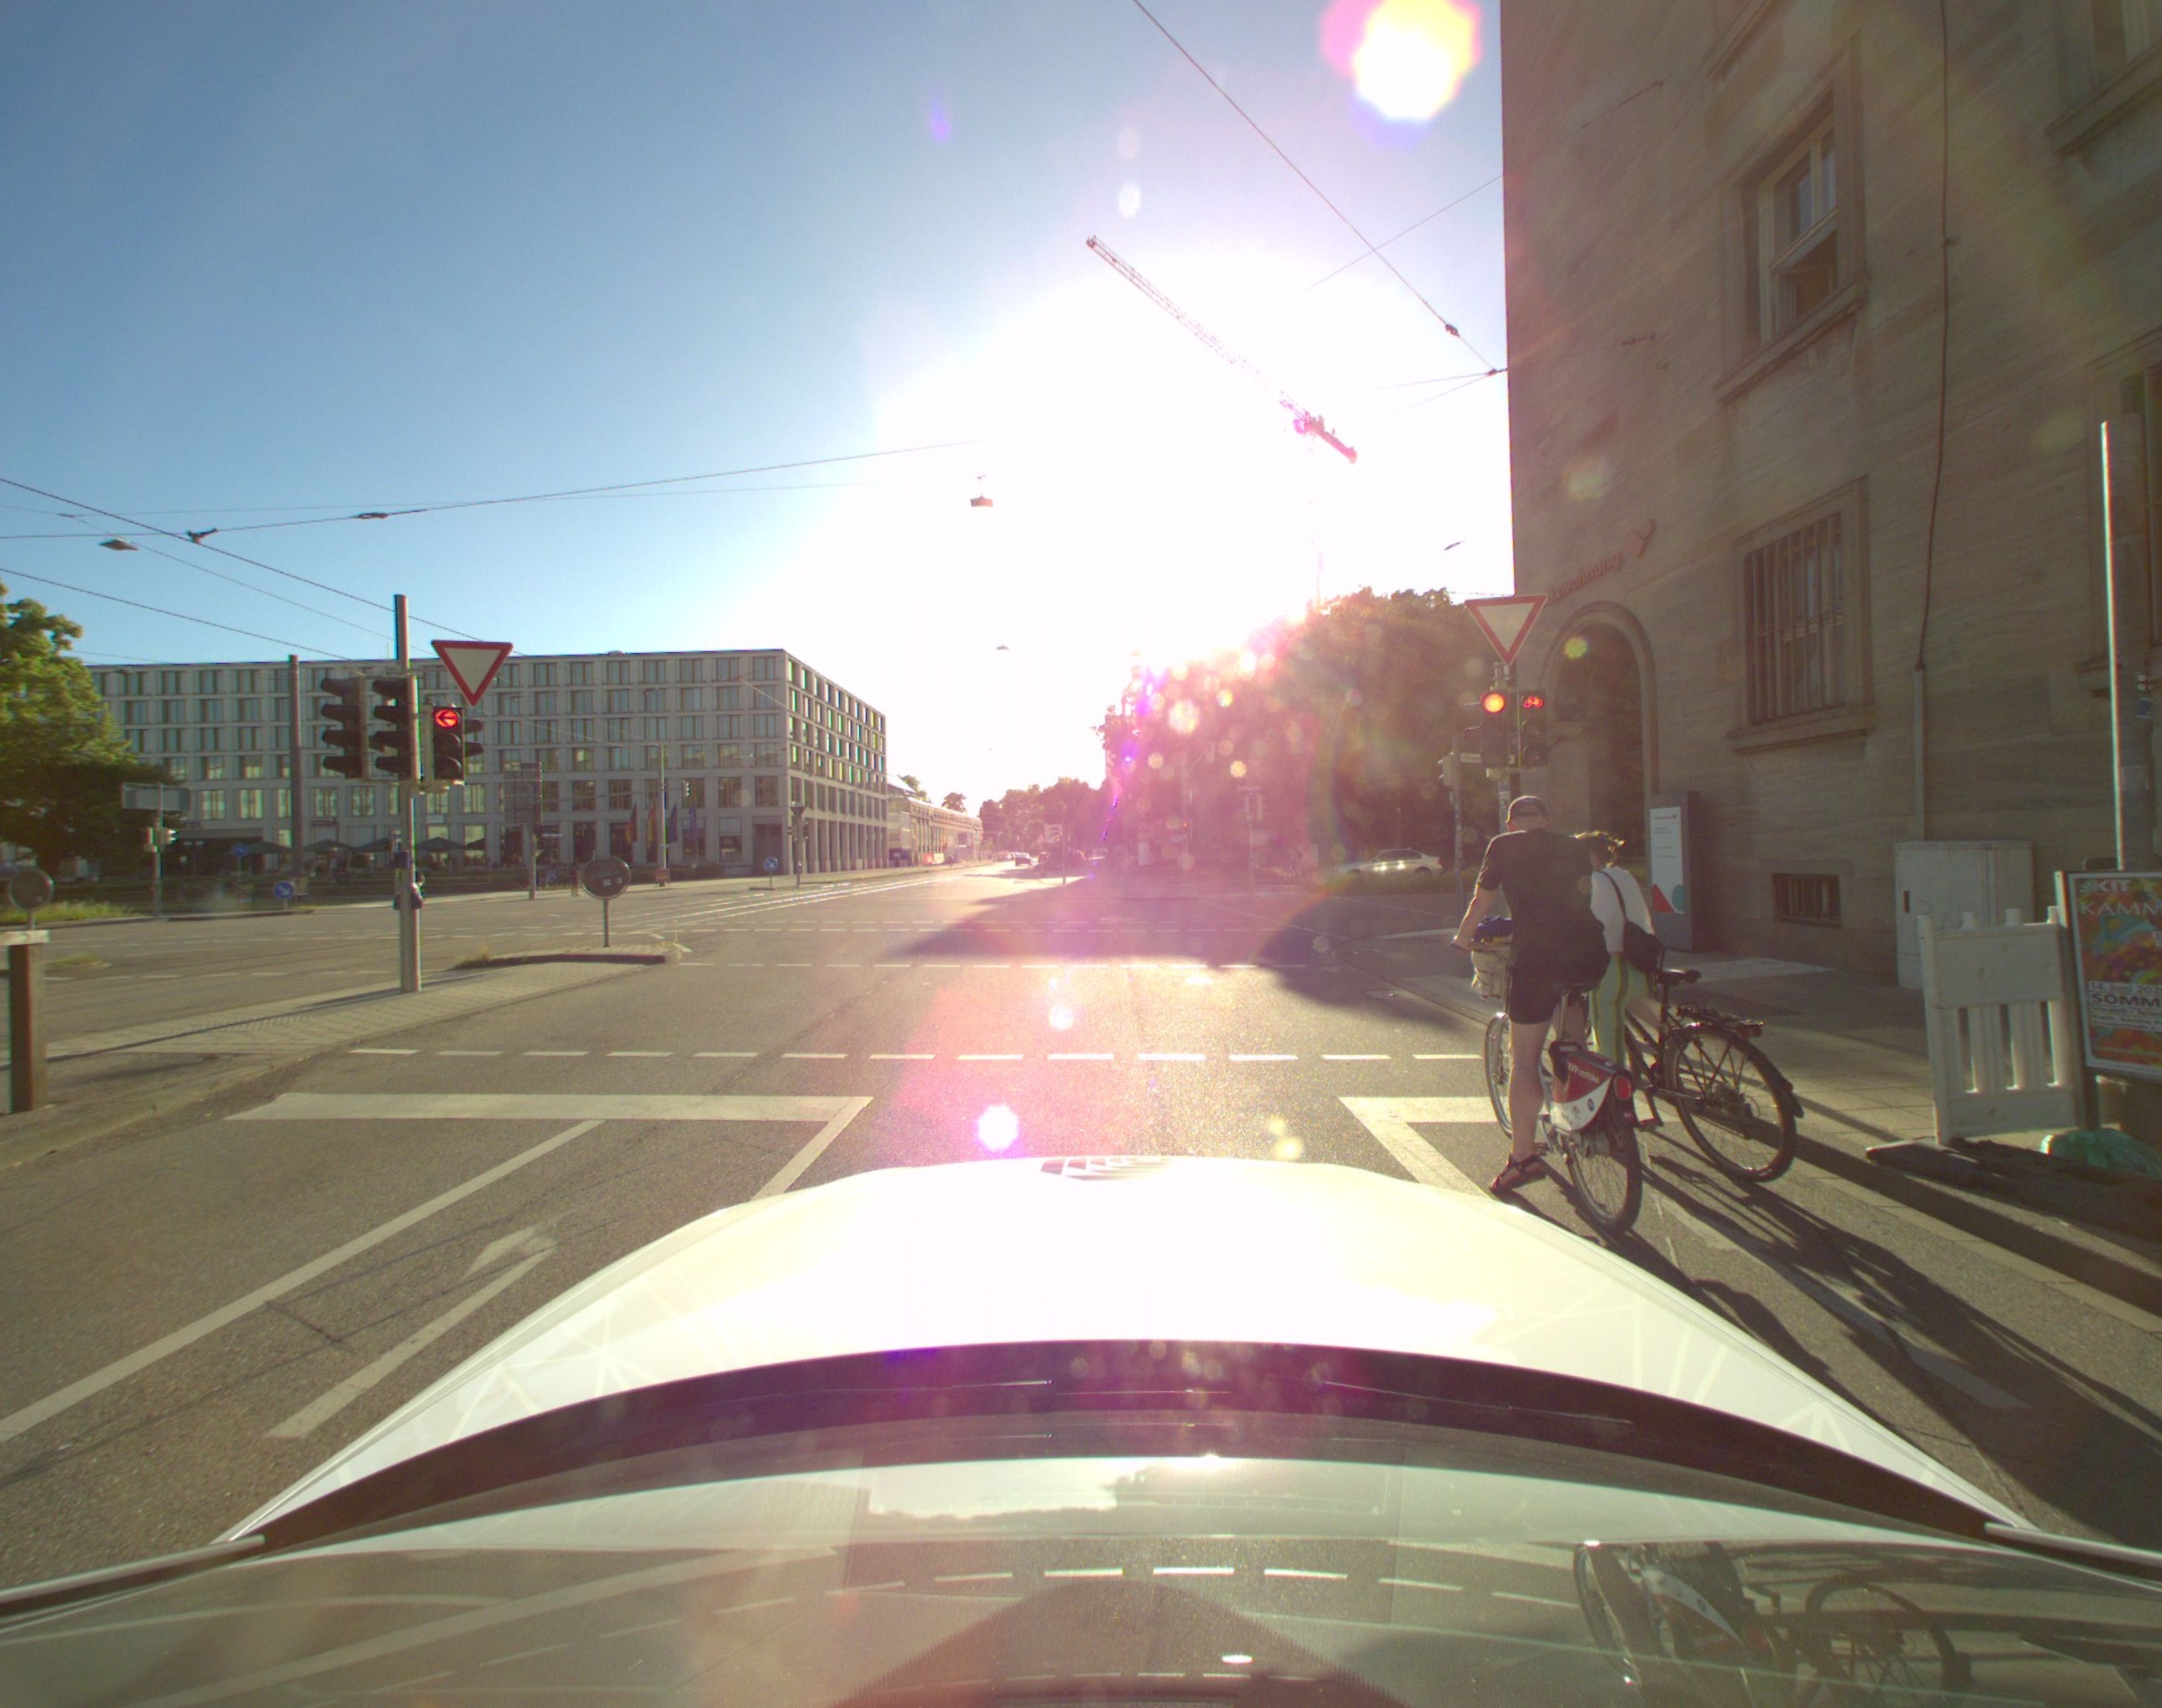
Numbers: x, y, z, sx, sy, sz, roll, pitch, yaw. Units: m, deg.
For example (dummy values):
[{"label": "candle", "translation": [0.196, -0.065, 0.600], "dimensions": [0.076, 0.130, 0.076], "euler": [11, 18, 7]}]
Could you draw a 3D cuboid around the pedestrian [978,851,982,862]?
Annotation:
[{"label": "pedestrian", "translation": [-18.616, 0.430, 150.480], "dimensions": [0.672, 2.014, 0.751], "euler": [0, -1, -1]}]

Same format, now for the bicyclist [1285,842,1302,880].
[{"label": "bicyclist", "translation": [9.462, 0.301, 36.257], "dimensions": [0.640, 1.683, 0.508], "euler": [-2, 0, 7]}]

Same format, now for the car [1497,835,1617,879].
[{"label": "car", "translation": [19.217, 0.117, 32.977], "dimensions": [3.835, 1.611, 1.650], "euler": [-2, 0, 1]}]

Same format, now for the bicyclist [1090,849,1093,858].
[{"label": "bicyclist", "translation": [1.990, -0.095, 151.313], "dimensions": [0.567, 1.691, 0.700], "euler": [-2, 0, 1]}]

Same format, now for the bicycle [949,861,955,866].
[{"label": "bicycle", "translation": [-14.990, 1.122, 94.395], "dimensions": [0.499, 0.515, 1.258], "euler": [0, -1, 1]}]

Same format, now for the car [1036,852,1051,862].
[{"label": "car", "translation": [-6.017, 0.453, 130.936], "dimensions": [1.884, 1.565, 4.813], "euler": [1, 0, 4]}]

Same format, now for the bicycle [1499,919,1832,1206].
[{"label": "bicycle", "translation": [2.946, 0.961, 4.352], "dimensions": [0.532, 1.077, 1.751], "euler": [-1, 0, 1]}]

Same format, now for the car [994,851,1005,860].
[{"label": "car", "translation": [-15.661, 0.262, 157.072], "dimensions": [1.688, 1.718, 4.245], "euler": [0, -1, -1]}]

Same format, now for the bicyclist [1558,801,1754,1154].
[{"label": "bicyclist", "translation": [2.957, 0.594, 4.245], "dimensions": [0.556, 1.691, 0.640], "euler": [-1, 0, 0]}]

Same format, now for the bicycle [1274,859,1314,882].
[{"label": "bicycle", "translation": [9.471, 0.744, 36.265], "dimensions": [1.657, 0.963, 0.535], "euler": [-2, 0, 7]}]

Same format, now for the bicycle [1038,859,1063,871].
[{"label": "bicycle", "translation": [-2.567, 0.906, 67.703], "dimensions": [1.996, 0.891, 0.655], "euler": [-4, -1, 29]}]

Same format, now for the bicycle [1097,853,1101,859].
[{"label": "bicycle", "translation": [3.331, 0.370, 151.429], "dimensions": [0.573, 1.077, 1.831], "euler": [-2, 0, 1]}]

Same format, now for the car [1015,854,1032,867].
[{"label": "car", "translation": [-6.848, 0.761, 97.595], "dimensions": [1.654, 1.455, 4.433], "euler": [-1, 0, 1]}]

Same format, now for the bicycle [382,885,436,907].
[{"label": "bicycle", "translation": [-32.631, 2.023, 39.584], "dimensions": [0.753, 0.935, 1.875], "euler": [-2, 0, 26]}]

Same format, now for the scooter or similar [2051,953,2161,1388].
[{"label": "scooter or similar", "translation": [3.279, 0.901, 1.859], "dimensions": [0.533, 1.185, 1.328], "euler": [-2, 0, 1]}]

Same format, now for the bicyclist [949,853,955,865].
[{"label": "bicyclist", "translation": [-15.004, 0.585, 94.418], "dimensions": [0.594, 1.377, 0.637], "euler": [0, -1, 0]}]

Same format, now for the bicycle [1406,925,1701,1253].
[{"label": "bicycle", "translation": [2.124, 0.960, 3.936], "dimensions": [0.513, 1.077, 1.729], "euler": [-1, 0, 4]}]

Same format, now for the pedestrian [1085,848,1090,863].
[{"label": "pedestrian", "translation": [0.776, 0.222, 97.887], "dimensions": [0.462, 1.813, 0.502], "euler": [-2, 0, -3]}]

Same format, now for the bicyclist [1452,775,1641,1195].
[{"label": "bicyclist", "translation": [2.126, 0.564, 3.778], "dimensions": [0.556, 1.799, 0.551], "euler": [-1, 0, 3]}]

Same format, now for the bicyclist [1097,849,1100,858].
[{"label": "bicyclist", "translation": [3.312, -0.036, 151.428], "dimensions": [0.567, 1.691, 0.700], "euler": [-2, 0, 1]}]

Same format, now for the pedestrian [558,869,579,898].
[{"label": "pedestrian", "translation": [-28.664, 1.645, 45.531], "dimensions": [0.775, 1.589, 0.589], "euler": [-2, 0, -10]}]

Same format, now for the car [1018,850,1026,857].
[{"label": "car", "translation": [-14.231, -0.122, 195.322], "dimensions": [1.688, 1.718, 4.245], "euler": [0, -1, -1]}]

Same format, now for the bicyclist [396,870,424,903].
[{"label": "bicyclist", "translation": [-32.631, 1.574, 39.602], "dimensions": [0.752, 1.589, 0.782], "euler": [-2, 0, 24]}]

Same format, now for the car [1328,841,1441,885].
[{"label": "car", "translation": [12.350, 0.354, 33.254], "dimensions": [3.979, 1.611, 1.650], "euler": [-2, 0, 1]}]

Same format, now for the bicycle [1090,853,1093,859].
[{"label": "bicycle", "translation": [2.009, 0.380, 151.283], "dimensions": [0.573, 1.077, 1.831], "euler": [-2, 0, 1]}]
